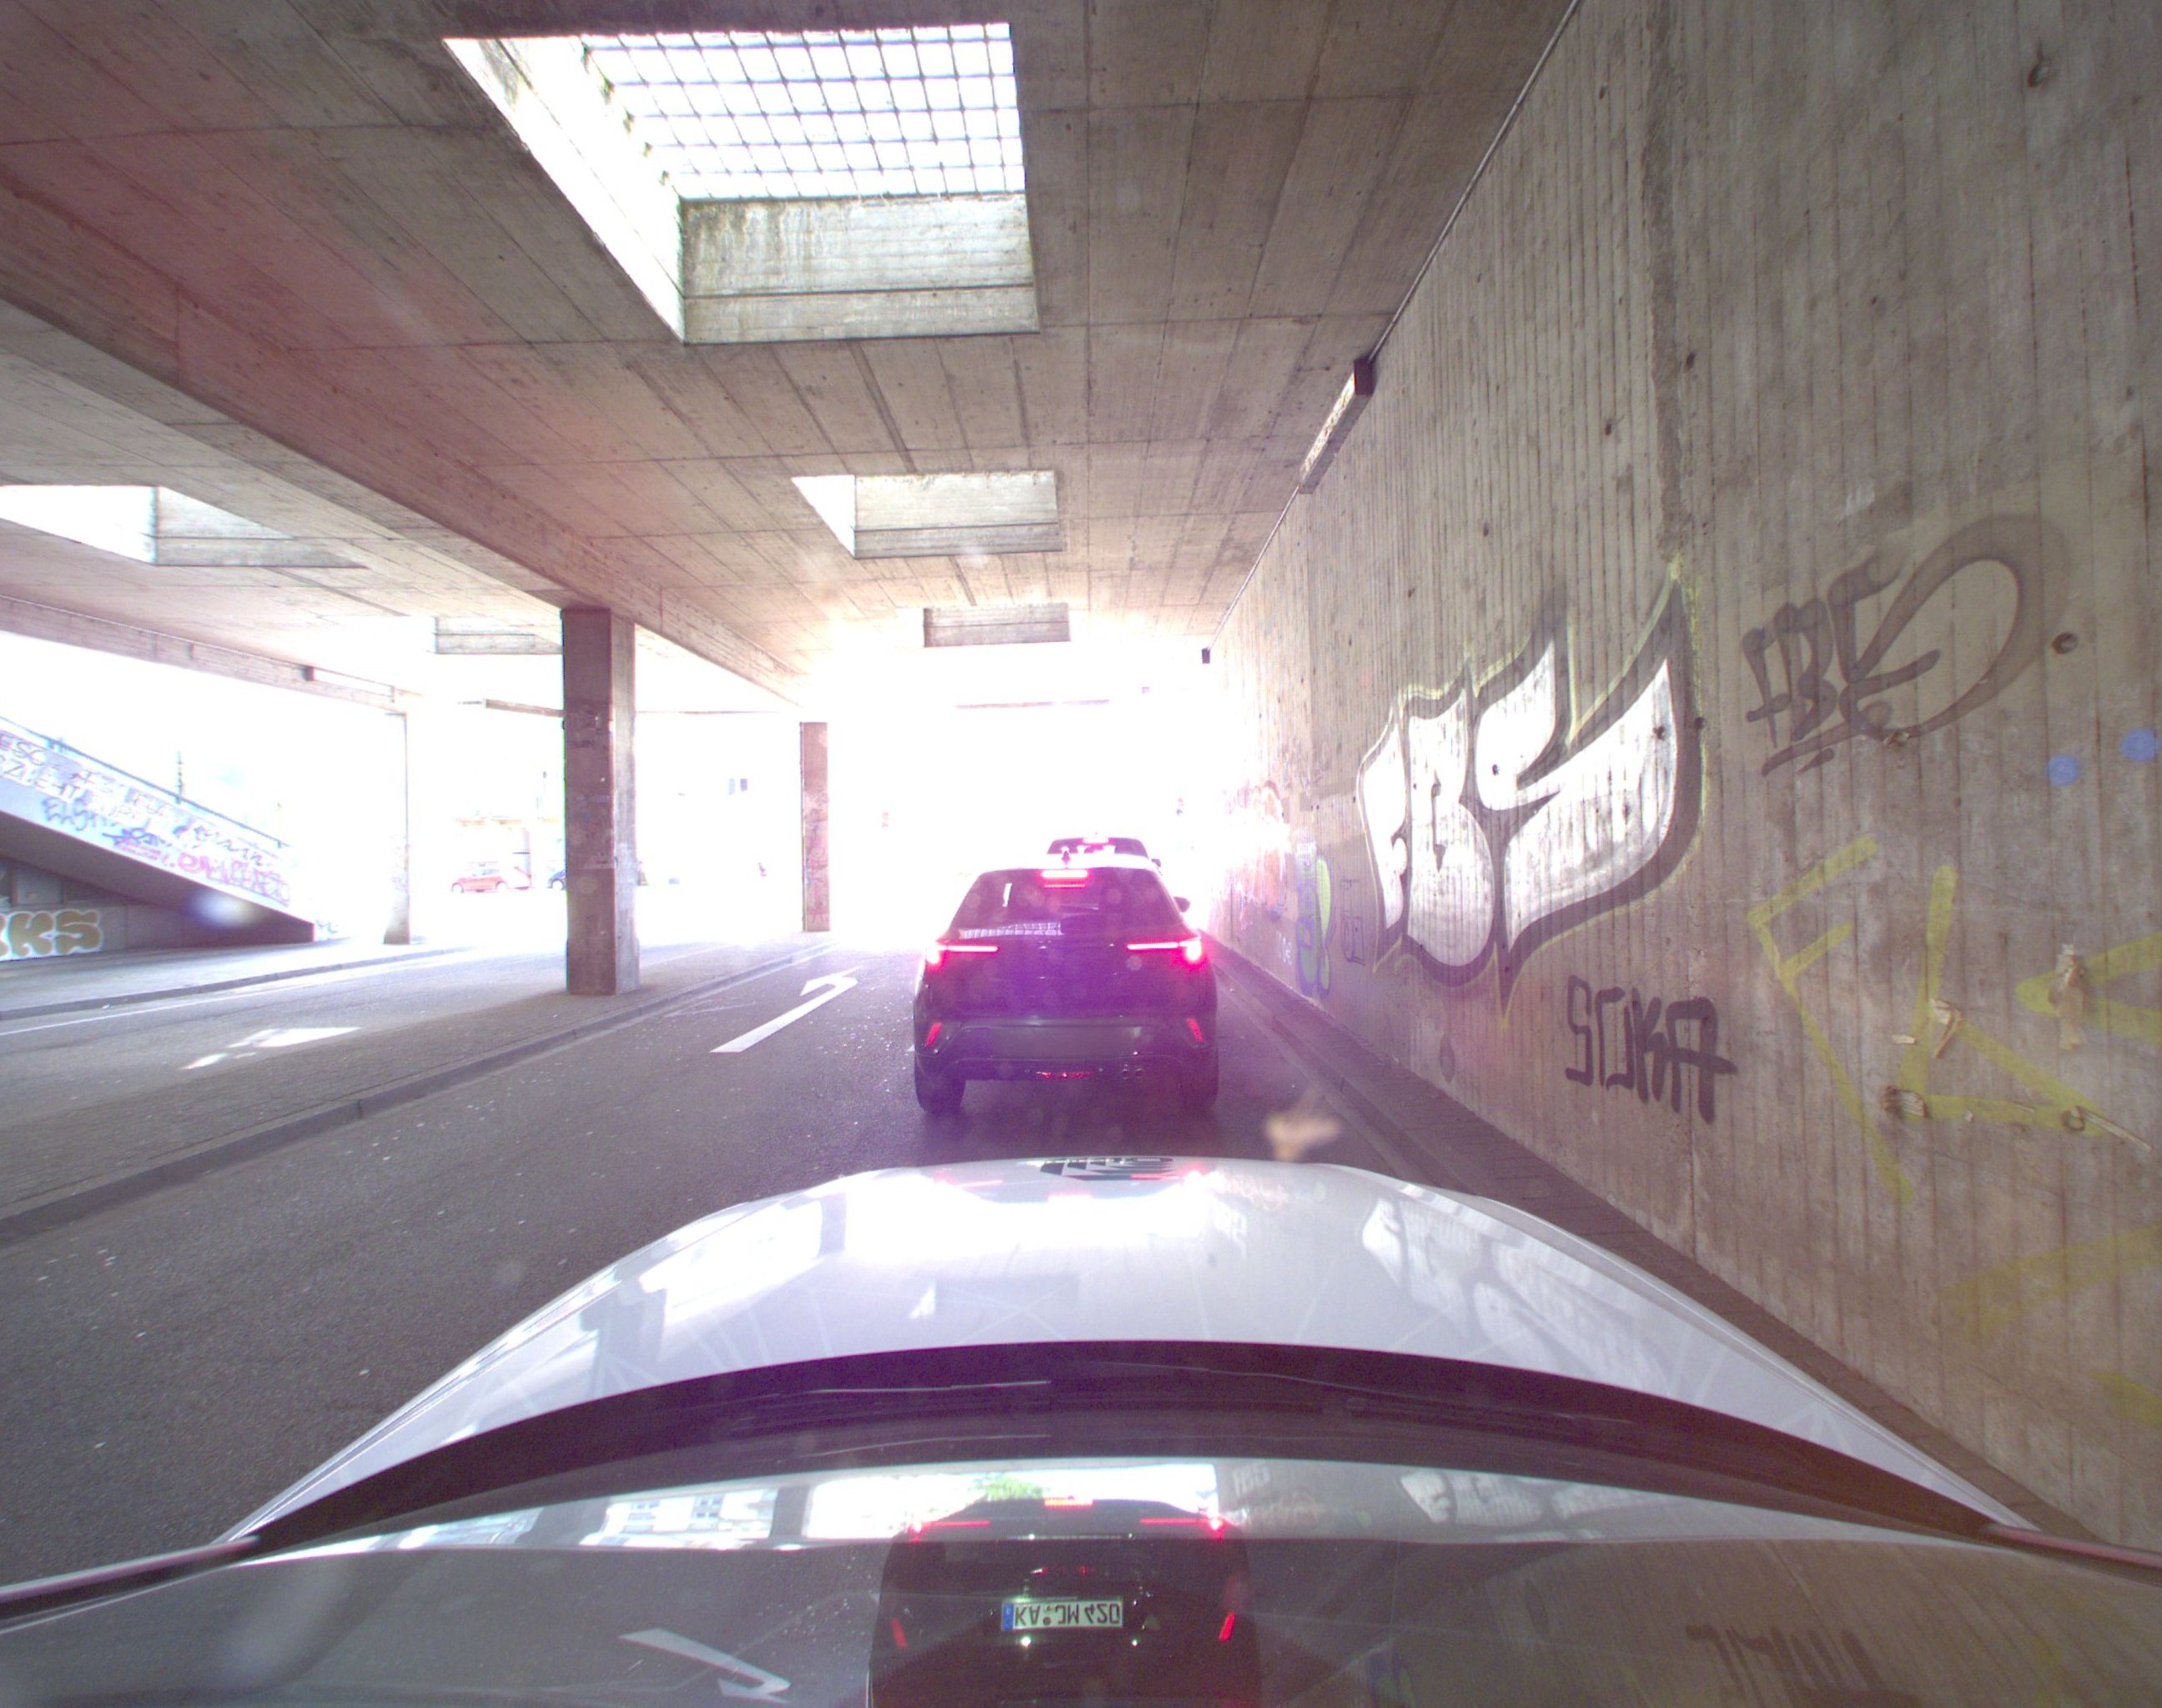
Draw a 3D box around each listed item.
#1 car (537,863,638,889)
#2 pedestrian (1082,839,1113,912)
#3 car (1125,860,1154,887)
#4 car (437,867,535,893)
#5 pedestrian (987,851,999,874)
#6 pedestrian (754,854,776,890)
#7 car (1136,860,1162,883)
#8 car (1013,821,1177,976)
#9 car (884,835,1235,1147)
[{"bbox_3d":[-27.294,1.210,45.130,4.393,1.409,1.925,0,-1,-1],"label":"car"},{"bbox_3d":[0.411,0.522,19.974,0.728,1.734,0.874,0,-1,1],"label":"pedestrian"},{"bbox_3d":[4.498,1.447,62.192,1.983,1.970,4.172,0,-1,7],"label":"car"},{"bbox_3d":[-33.043,1.431,45.294,3.975,1.409,1.925,0,-1,-1],"label":"car"},{"bbox_3d":[-7.852,0.764,72.423,0.887,2.088,0.810,-1,-1,9],"label":"pedestrian"},{"bbox_3d":[-14.387,0.812,37.086,0.669,1.637,0.741,0,-1,1],"label":"pedestrian"},{"bbox_3d":[5.883,1.469,70.003,1.983,1.970,4.172,0,-1,7],"label":"car"},{"bbox_3d":[0.233,0.546,12.119,1.986,1.871,4.002,-2,0,2],"label":"car"},{"bbox_3d":[-0.044,0.657,6.105,1.758,1.571,4.002,0,1,2],"label":"car"}]
